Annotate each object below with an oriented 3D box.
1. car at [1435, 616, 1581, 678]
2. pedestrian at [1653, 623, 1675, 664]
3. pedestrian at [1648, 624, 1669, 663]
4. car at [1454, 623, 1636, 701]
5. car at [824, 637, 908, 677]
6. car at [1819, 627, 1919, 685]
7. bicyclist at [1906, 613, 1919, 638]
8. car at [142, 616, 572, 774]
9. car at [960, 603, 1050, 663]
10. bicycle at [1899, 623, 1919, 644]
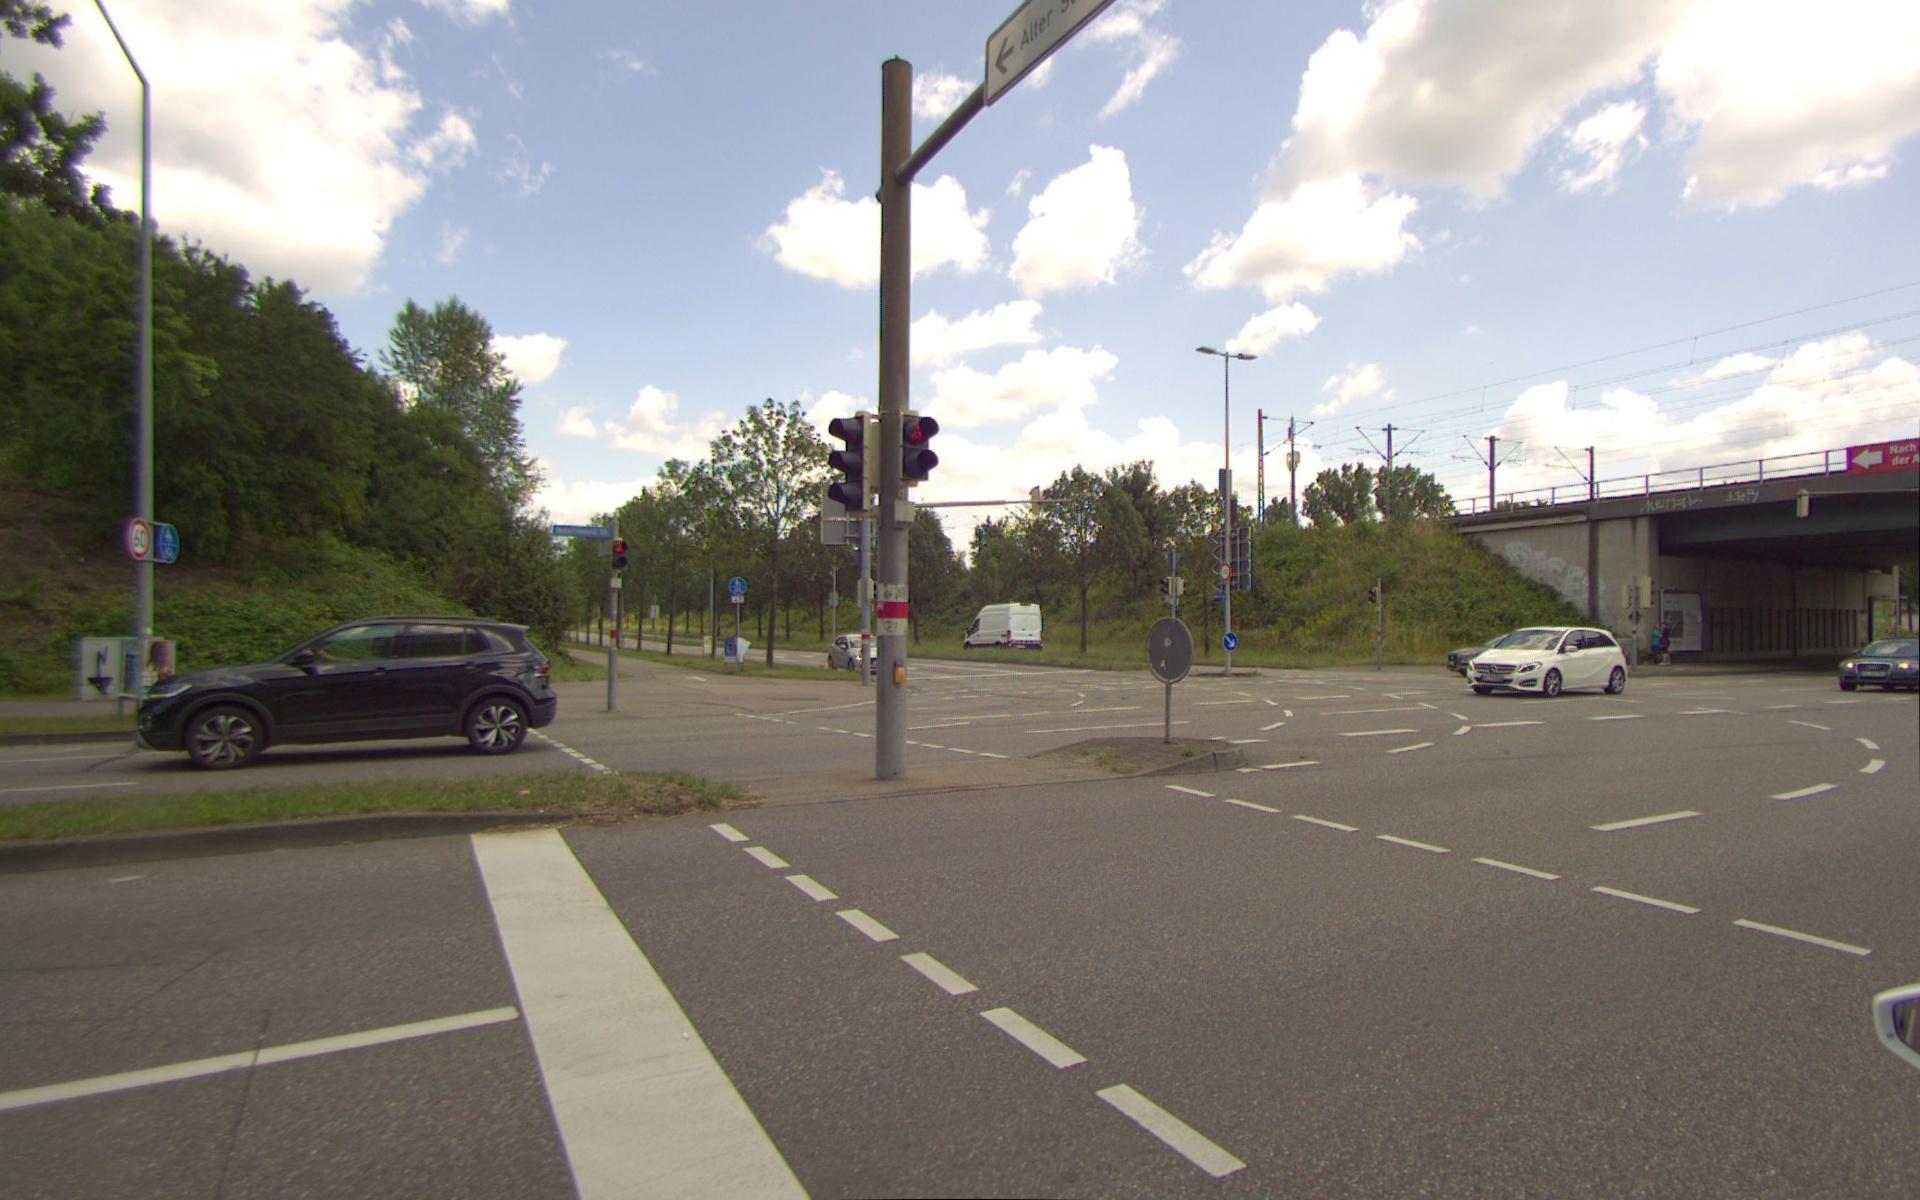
[{"bbox_3d":[18.743,1.595,34.459,3.923,2.040,1.999,0,-2,-4],"label":"car"},{"bbox_3d":[29.368,1.816,41.919,0.550,1.703,0.587,1,-1,-32],"label":"pedestrian"},{"bbox_3d":[29.735,1.857,42.762,0.579,1.646,0.552,1,-1,-29],"label":"pedestrian"},{"bbox_3d":[13.668,1.393,23.422,4.341,1.653,1.797,1,-2,-30],"label":"car"},{"bbox_3d":[-3.658,2.136,38.456,1.972,1.397,4.299,1,-2,-23],"label":"car"},{"bbox_3d":[25.031,1.455,26.652,4.724,1.407,1.965,1,-3,-30],"label":"car"},{"bbox_3d":[54.406,1.448,57.033,0.911,1.426,0.680,1,0,-23],"label":"bicyclist"},{"bbox_3d":[-6.744,0.990,11.664,3.952,1.549,1.917,1,-2,-29],"label":"car"},{"bbox_3d":[2.242,1.692,51.401,2.355,2.859,5.381,1,-2,-26],"label":"car"},{"bbox_3d":[54.384,1.898,57.024,2.250,1.158,0.679,1,0,-23],"label":"bicycle"}]
